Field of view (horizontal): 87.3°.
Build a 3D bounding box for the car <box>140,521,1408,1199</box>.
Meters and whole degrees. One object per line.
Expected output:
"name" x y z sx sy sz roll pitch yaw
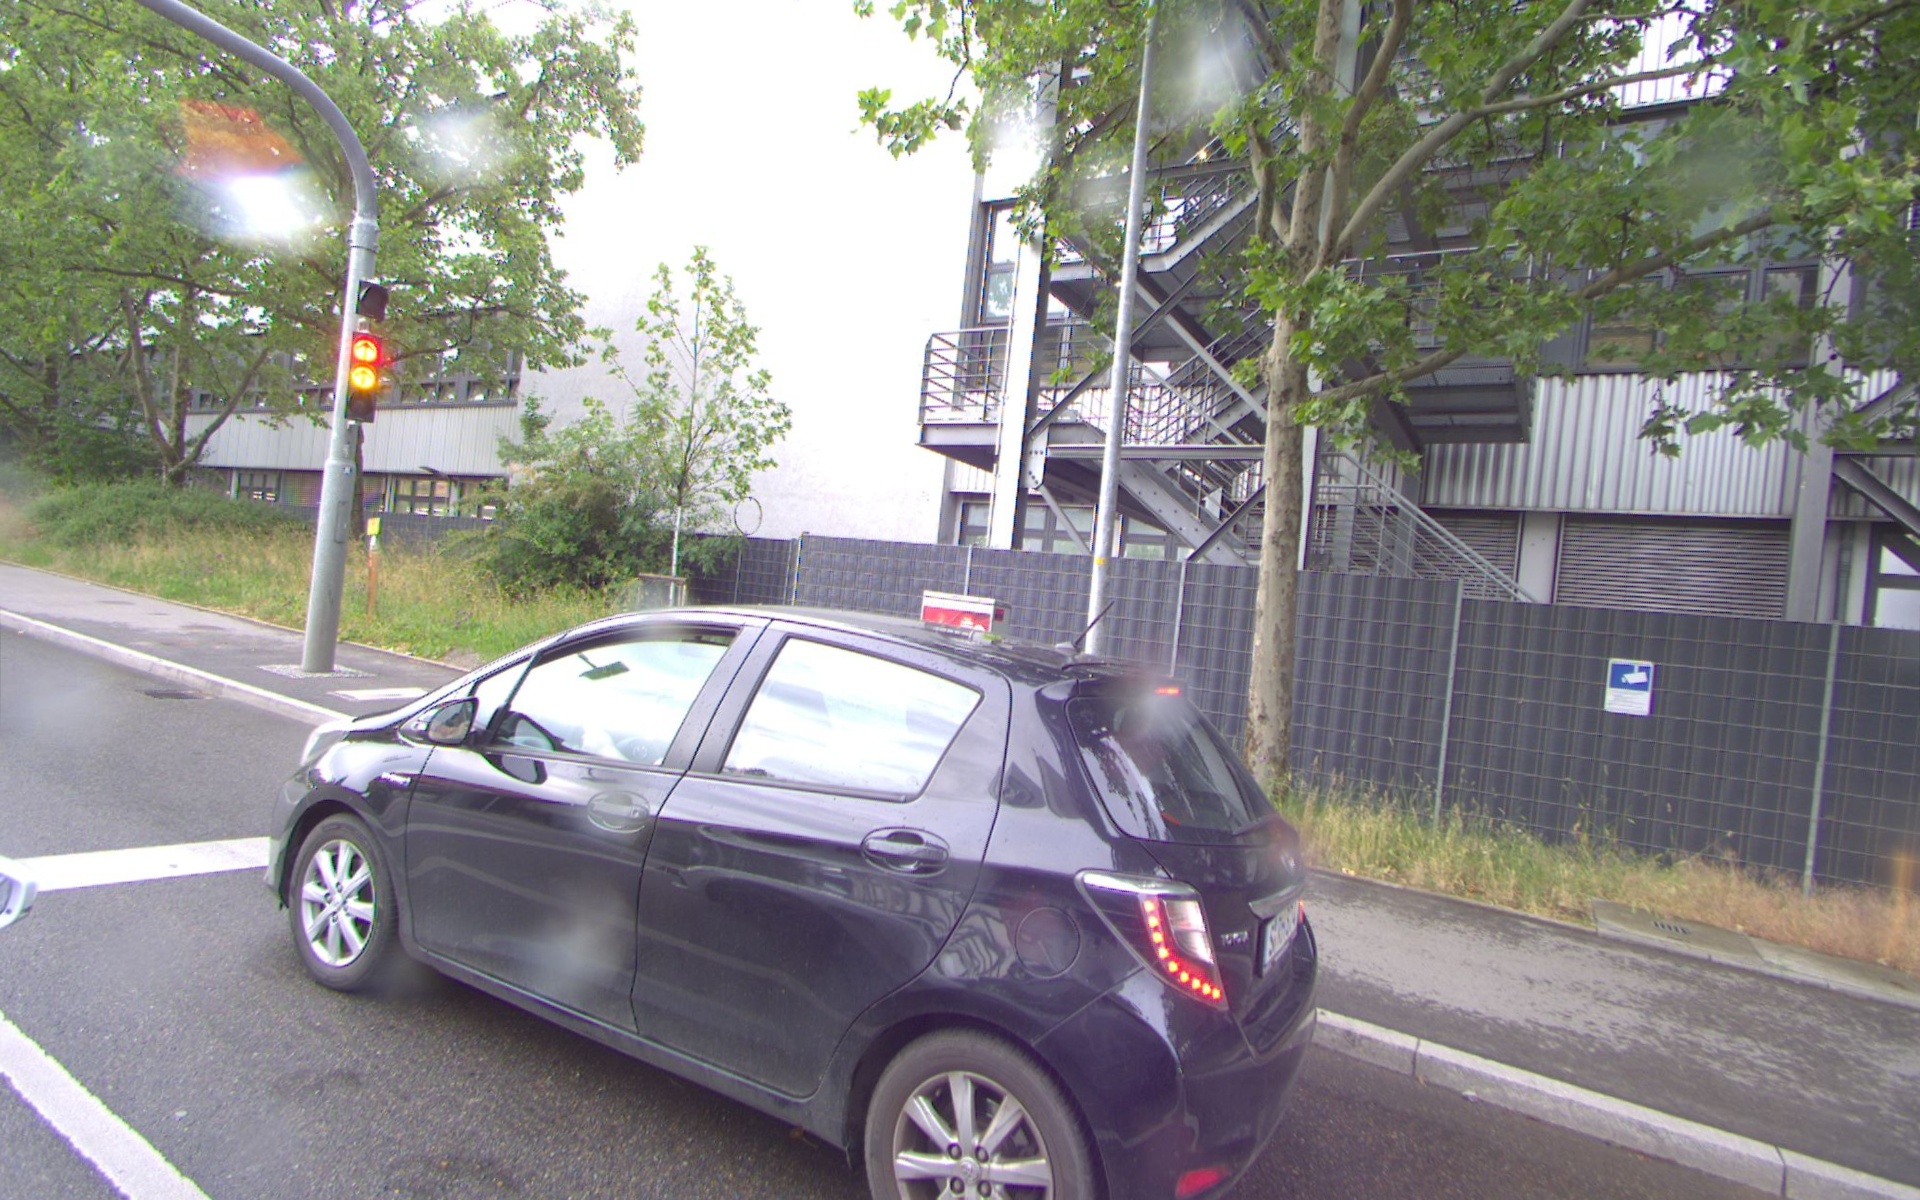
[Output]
"car" -0.731 0.723 3.562 4.005 1.513 1.879 7 1 28
